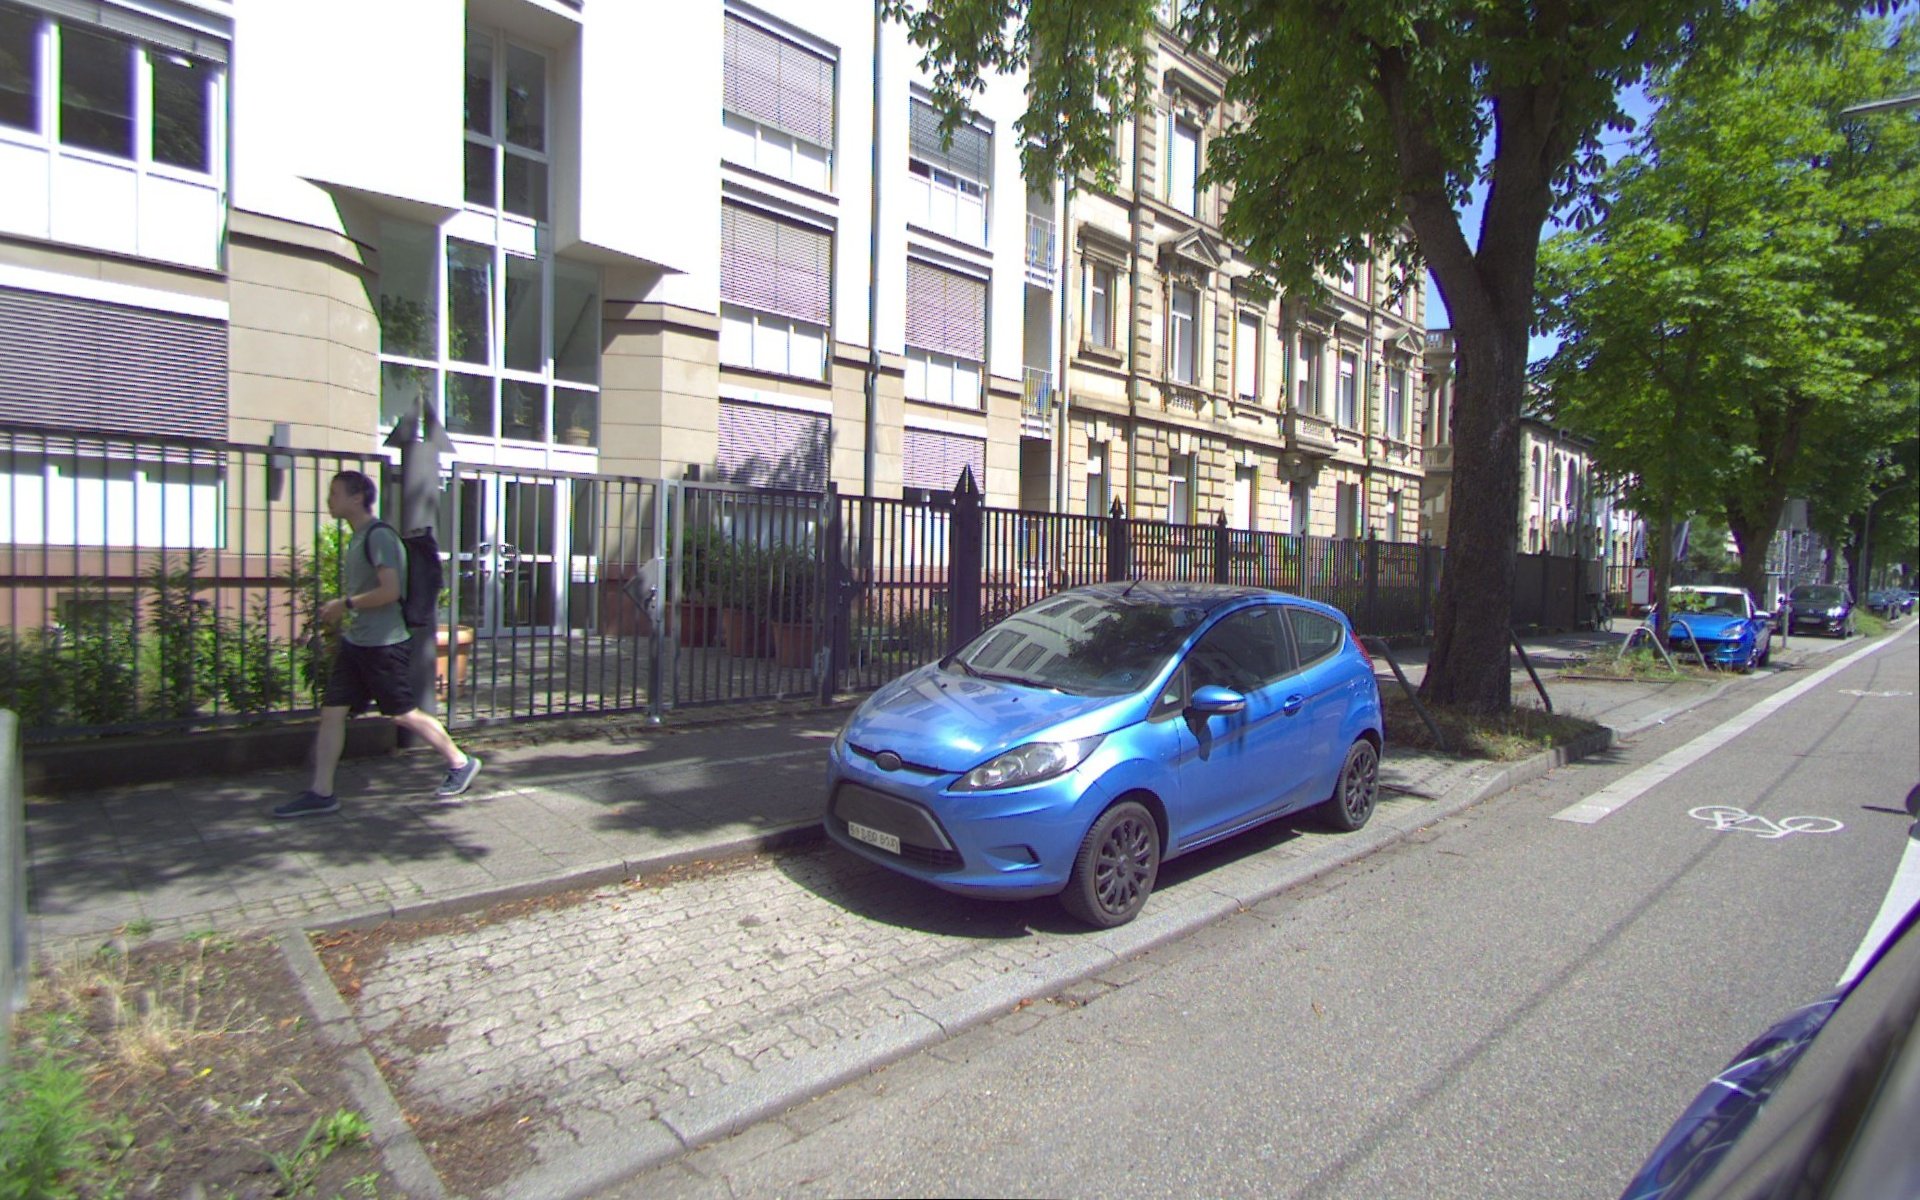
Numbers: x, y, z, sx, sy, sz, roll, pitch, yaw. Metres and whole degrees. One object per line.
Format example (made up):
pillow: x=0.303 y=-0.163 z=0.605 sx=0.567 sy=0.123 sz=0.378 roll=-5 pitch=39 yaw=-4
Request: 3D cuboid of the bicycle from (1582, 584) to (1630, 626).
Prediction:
bicycle: x=17.592 y=0.125 z=27.551 sx=1.947 sy=1.084 sz=0.608 roll=0 pitch=2 yaw=-43

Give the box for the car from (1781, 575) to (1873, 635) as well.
car: x=26.996 y=0.112 z=31.482 sx=4.017 sy=1.635 sz=1.732 roll=-1 pitch=4 yaw=-44

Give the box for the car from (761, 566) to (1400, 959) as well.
car: x=0.896 y=0.579 z=5.710 sx=1.678 sy=1.461 sz=3.661 roll=3 pitch=2 yaw=45

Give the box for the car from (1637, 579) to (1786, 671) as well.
car: x=13.735 y=0.380 z=18.443 sx=1.692 sy=1.471 sz=3.418 roll=3 pitch=2 yaw=45

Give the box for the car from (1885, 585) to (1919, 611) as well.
car: x=56.331 y=-0.141 z=60.190 sx=3.935 sy=1.420 sz=1.624 roll=-1 pitch=5 yaw=-45

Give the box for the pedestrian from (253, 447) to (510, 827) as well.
pedestrian: x=-3.109 y=0.162 z=5.466 sx=1.066 sy=1.819 sz=0.685 roll=0 pitch=2 yaw=-44

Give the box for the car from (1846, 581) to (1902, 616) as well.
car: x=42.363 y=-0.096 z=46.889 sx=3.760 sy=1.420 sz=1.624 roll=-1 pitch=5 yaw=-45
